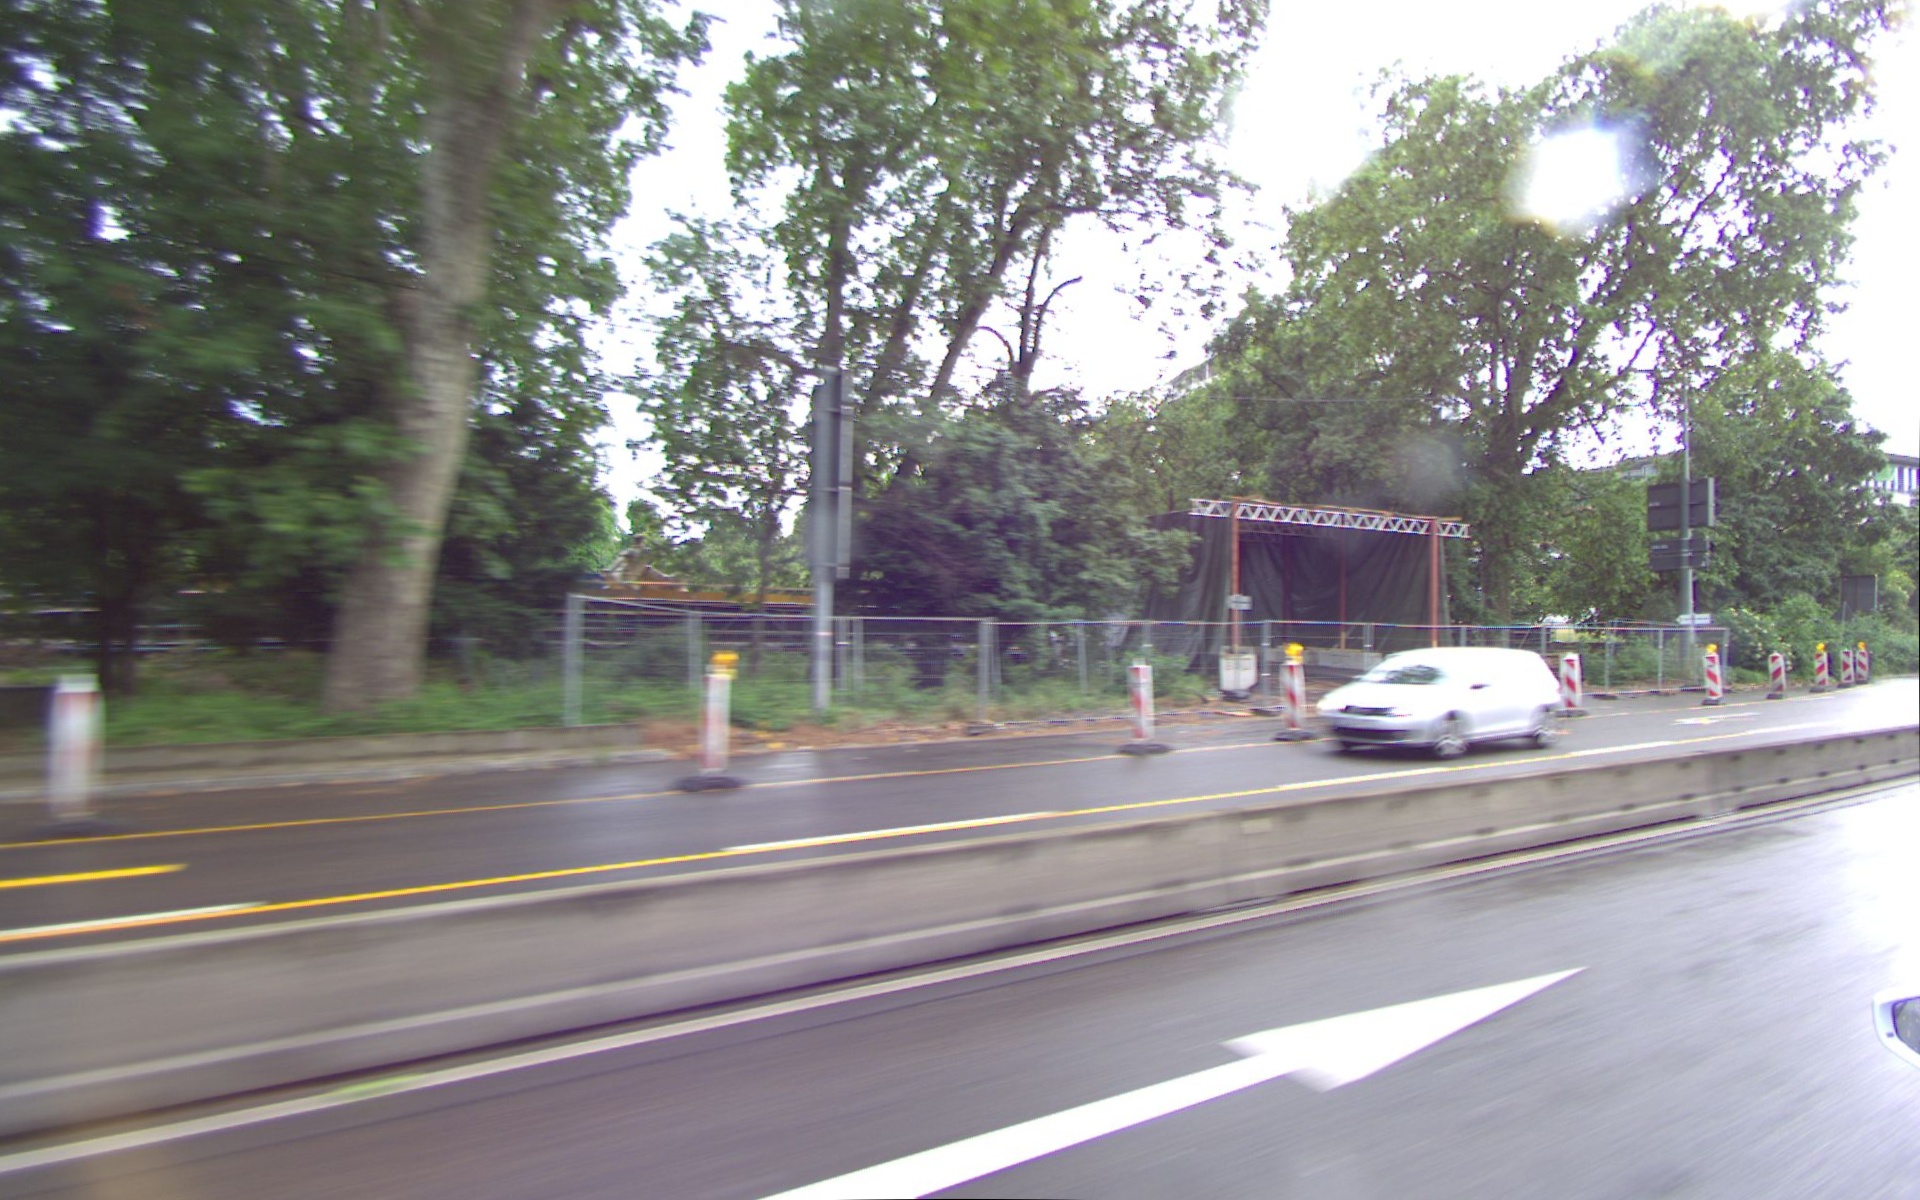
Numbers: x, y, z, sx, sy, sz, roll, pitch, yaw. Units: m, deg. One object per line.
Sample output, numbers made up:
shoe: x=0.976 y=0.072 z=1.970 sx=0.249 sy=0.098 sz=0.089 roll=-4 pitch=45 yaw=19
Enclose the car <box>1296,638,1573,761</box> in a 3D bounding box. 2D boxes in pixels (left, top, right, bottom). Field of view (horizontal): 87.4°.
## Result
car: x=6.987 y=1.441 z=14.695 sx=4.049 sy=1.560 sz=1.858 roll=5 pitch=-5 yaw=-34
